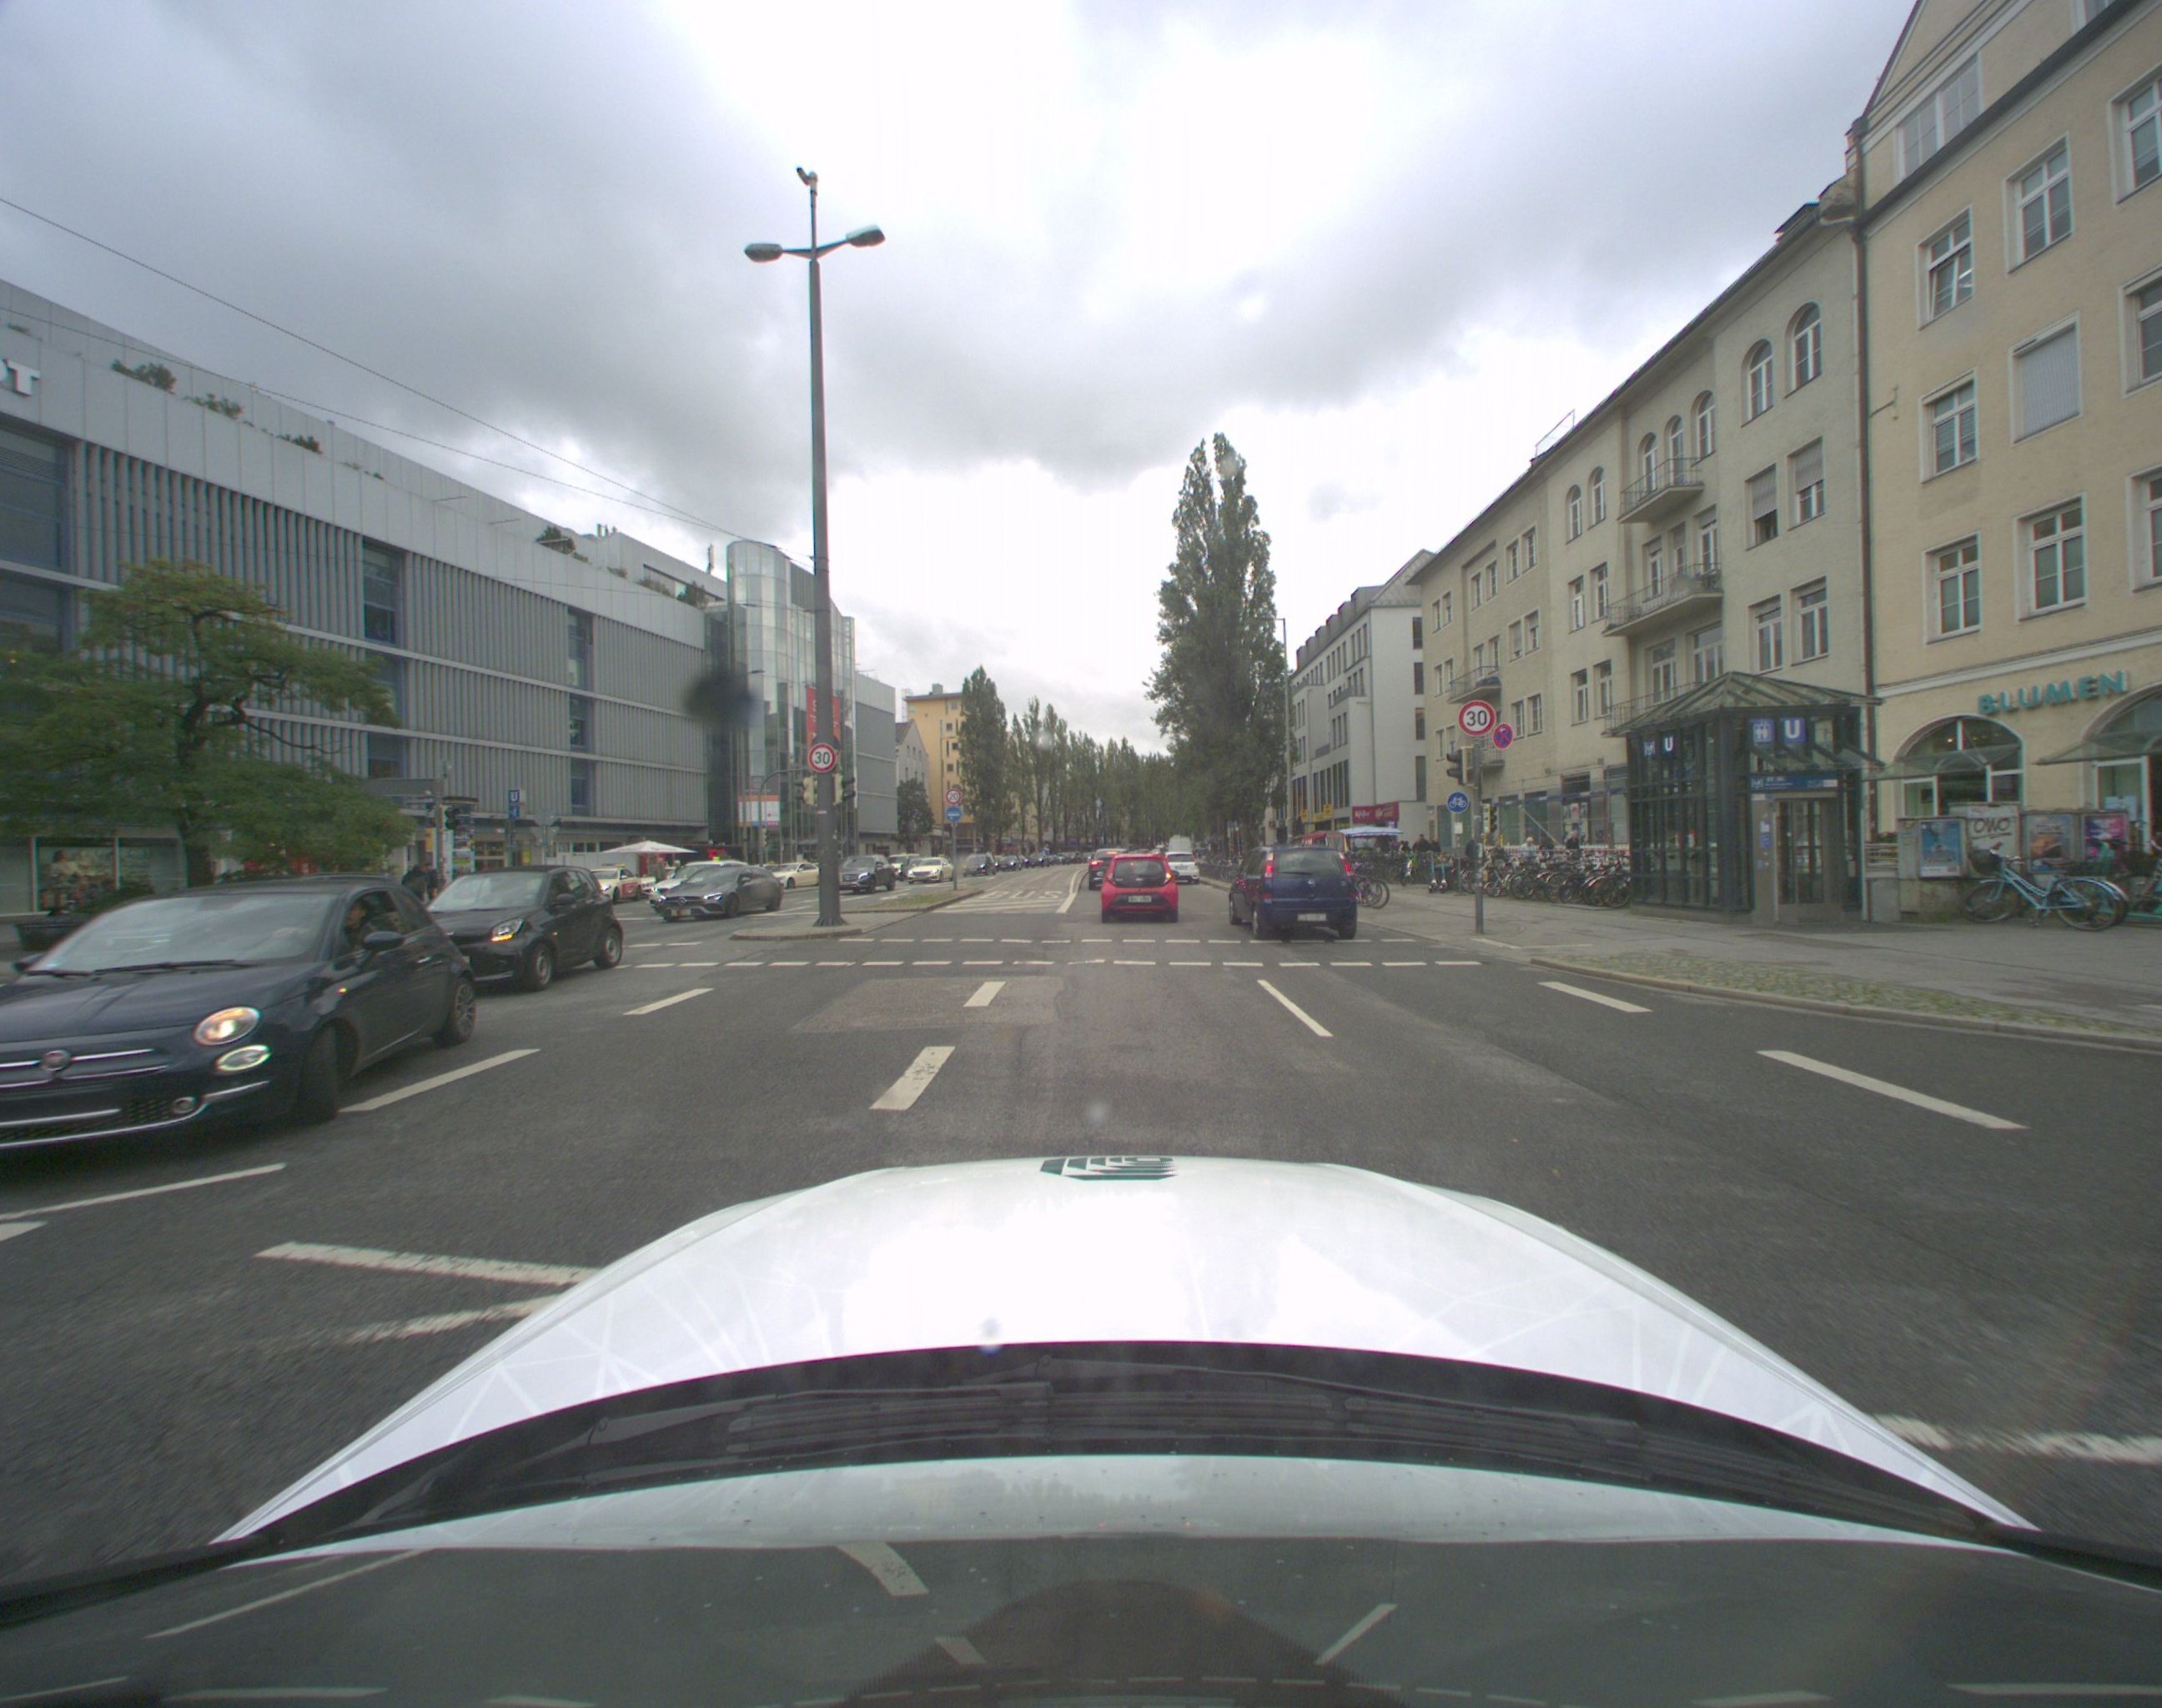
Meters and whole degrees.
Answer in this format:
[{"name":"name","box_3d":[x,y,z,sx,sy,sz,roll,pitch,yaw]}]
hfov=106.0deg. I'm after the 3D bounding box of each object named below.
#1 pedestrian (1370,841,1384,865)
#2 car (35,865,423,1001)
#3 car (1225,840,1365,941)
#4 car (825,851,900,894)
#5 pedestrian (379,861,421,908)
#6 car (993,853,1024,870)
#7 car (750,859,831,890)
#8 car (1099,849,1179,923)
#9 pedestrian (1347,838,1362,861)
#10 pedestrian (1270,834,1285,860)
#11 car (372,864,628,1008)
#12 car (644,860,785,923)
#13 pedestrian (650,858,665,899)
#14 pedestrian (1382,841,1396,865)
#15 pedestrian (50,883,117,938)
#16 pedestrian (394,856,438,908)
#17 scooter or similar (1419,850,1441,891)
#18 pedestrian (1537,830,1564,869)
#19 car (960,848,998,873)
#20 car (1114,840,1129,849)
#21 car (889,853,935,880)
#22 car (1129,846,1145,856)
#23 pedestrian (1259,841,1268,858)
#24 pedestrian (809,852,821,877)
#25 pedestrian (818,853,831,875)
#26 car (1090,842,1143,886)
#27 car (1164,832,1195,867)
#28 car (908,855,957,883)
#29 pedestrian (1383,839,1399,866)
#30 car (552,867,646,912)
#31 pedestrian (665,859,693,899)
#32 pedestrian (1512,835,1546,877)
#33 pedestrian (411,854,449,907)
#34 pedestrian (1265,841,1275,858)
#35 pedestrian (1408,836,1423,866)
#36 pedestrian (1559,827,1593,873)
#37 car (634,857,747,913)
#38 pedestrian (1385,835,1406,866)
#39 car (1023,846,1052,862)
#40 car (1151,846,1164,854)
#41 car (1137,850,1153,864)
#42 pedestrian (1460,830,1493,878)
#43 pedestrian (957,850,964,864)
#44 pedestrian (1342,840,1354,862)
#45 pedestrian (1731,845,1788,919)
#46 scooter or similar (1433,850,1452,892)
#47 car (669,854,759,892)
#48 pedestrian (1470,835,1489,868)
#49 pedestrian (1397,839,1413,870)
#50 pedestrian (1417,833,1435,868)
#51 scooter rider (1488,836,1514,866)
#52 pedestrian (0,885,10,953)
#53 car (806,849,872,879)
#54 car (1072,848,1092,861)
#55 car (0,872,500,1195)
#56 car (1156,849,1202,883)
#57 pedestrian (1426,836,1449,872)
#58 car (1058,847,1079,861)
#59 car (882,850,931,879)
[{"name":"pedestrian","box_3d":[17.716,-0.041,48.764,0.596,1.402,0.580,-2,0,1]},{"name":"car","box_3d":[-13.011,1.089,12.887,1.776,1.662,4.002,-2,0,2]},{"name":"car","box_3d":[3.757,0.575,14.874,1.696,1.589,3.558,-2,0,2]},{"name":"car","box_3d":[-9.408,0.747,35.500,1.736,1.670,4.735,-2,1,2]},{"name":"pedestrian","box_3d":[-23.148,1.027,27.698,0.764,1.554,0.755,-2,0,17]},{"name":"car","box_3d":[-6.430,0.635,72.457,1.836,1.382,4.608,-2,0,6]},{"name":"car","box_3d":[-15.643,1.072,44.179,1.981,1.508,4.649,-2,0,11]},{"name":"car","box_3d":[1.249,0.641,18.129,1.598,1.461,3.132,-1,0,3]},{"name":"pedestrian","box_3d":[18.738,-0.307,55.751,0.730,1.602,0.742,-2,0,1]},{"name":"pedestrian","box_3d":[13.622,-0.486,56.475,0.787,1.727,0.764,-2,0,1]},{"name":"car","box_3d":[-7.417,0.946,10.733,1.502,1.534,2.830,-3,0,-7]},{"name":"car","box_3d":[-10.059,0.963,22.740,1.987,1.411,4.167,-3,1,0]},{"name":"pedestrian","box_3d":[-18.366,1.042,35.331,0.441,1.759,0.358,-2,0,37]},{"name":"pedestrian","box_3d":[18.437,-0.041,48.724,0.572,1.402,0.580,-2,0,1]},{"name":"pedestrian","box_3d":[-29.991,1.680,24.494,0.791,1.581,0.980,-2,0,13]},{"name":"pedestrian","box_3d":[-21.858,0.904,26.764,0.765,1.654,0.754,-2,0,12]},{"name":"scooter or similar","box_3d":[10.444,0.482,24.346,0.360,1.176,1.356,-2,0,32]},{"name":"pedestrian","box_3d":[19.131,-0.192,33.201,0.646,1.568,0.788,-2,0,2]},{"name":"car","box_3d":[-7.480,0.443,60.004,1.928,1.738,4.591,-2,0,3]},{"name":"car","box_3d":[7.865,-1.777,156.196,1.979,1.691,4.431,-2,0,14]},{"name":"car","box_3d":[-11.129,0.781,53.901,1.831,1.613,4.262,-2,1,3]},{"name":"car","box_3d":[10.086,-0.620,146.814,1.979,1.691,4.431,-2,0,14]},{"name":"pedestrian","box_3d":[17.521,-0.448,78.229,0.761,1.594,0.676,-2,0,1]},{"name":"pedestrian","box_3d":[-19.202,0.761,58.786,0.553,1.817,0.630,-2,0,13]},{"name":"pedestrian","box_3d":[-19.808,0.794,62.865,0.646,1.691,0.714,-2,0,14]},{"name":"car","box_3d":[1.395,0.371,32.809,1.986,1.618,4.001,-2,0,1]},{"name":"car","box_3d":[8.050,-0.377,66.890,2.098,2.718,4.807,-2,0,3]},{"name":"car","box_3d":[-8.522,0.836,47.093,1.758,1.421,4.642,-2,0,2]},{"name":"pedestrian","box_3d":[16.420,-0.076,43.195,0.612,1.425,0.660,-2,0,7]},{"name":"car","box_3d":[-19.574,1.399,33.287,1.996,1.536,4.395,-2,1,-13]},{"name":"pedestrian","box_3d":[-17.418,1.063,35.294,0.766,1.690,0.753,-2,0,6]},{"name":"pedestrian","box_3d":[16.777,0.055,30.517,0.775,1.517,0.758,-3,0,0]},{"name":"pedestrian","box_3d":[-22.205,0.894,27.786,0.752,1.773,0.767,-2,0,-22]},{"name":"pedestrian","box_3d":[17.325,-0.411,74.549,0.710,1.558,0.676,-2,0,1]},{"name":"pedestrian","box_3d":[16.635,-0.143,40.500,0.501,1.484,0.468,-2,0,37]},{"name":"pedestrian","box_3d":[18.173,-0.145,29.914,0.748,1.650,0.758,-3,0,0]},{"name":"car","box_3d":[-12.613,0.940,26.588,1.693,1.596,4.000,-2,0,1]},{"name":"pedestrian","box_3d":[15.941,-0.180,41.253,0.801,1.522,0.805,-2,0,35]},{"name":"car","box_3d":[-4.439,0.013,84.581,1.981,1.534,4.600,-2,0,10]},{"name":"car","box_3d":[15.884,-0.839,168.826,1.979,1.691,4.431,-2,0,14]},{"name":"car","box_3d":[8.815,0.383,111.902,1.982,1.838,4.009,-2,0,8]},{"name":"pedestrian","box_3d":[14.709,-0.002,30.318,0.810,1.727,0.759,-3,0,2]},{"name":"pedestrian","box_3d":[-16.030,0.375,108.447,0.682,1.810,0.768,-2,0,13]},{"name":"pedestrian","box_3d":[17.583,-0.206,53.581,0.596,1.402,0.580,-2,0,1]},{"name":"pedestrian","box_3d":[15.822,0.636,19.002,0.654,1.670,0.722,-3,0,3]},{"name":"scooter or similar","box_3d":[10.638,0.484,23.970,0.297,1.176,1.285,-2,0,32]},{"name":"car","box_3d":[-16.645,0.812,37.194,1.893,1.543,4.395,-2,1,2]},{"name":"pedestrian","box_3d":[20.447,-0.135,41.777,0.638,1.644,0.563,-2,0,1]},{"name":"pedestrian","box_3d":[15.937,0.015,40.054,0.573,1.505,0.620,-2,0,33]},{"name":"pedestrian","box_3d":[16.742,-0.181,39.519,0.594,1.669,0.690,-2,0,37]},{"name":"scooter rider","box_3d":[18.082,-0.130,35.084,0.683,1.219,0.719,-3,0,0]},{"name":"pedestrian","box_3d":[-25.587,1.530,18.848,0.634,1.574,0.722,-2,0,6]},{"name":"car","box_3d":[-14.675,0.570,49.615,1.979,1.679,4.200,-1,1,14]},{"name":"car","box_3d":[0.121,0.098,113.698,1.982,1.692,4.933,-2,-1,9]},{"name":"car","box_3d":[-5.555,0.916,5.686,1.551,1.445,3.514,-2,1,-21]},{"name":"car","box_3d":[4.400,0.494,36.891,1.693,1.426,3.498,-2,0,1]},{"name":"pedestrian","box_3d":[17.881,0.002,40.882,0.739,1.727,0.759,-3,0,1]},{"name":"car","box_3d":[-1.603,0.037,103.787,1.983,1.691,4.931,-2,0,7]},{"name":"car","box_3d":[-13.449,0.751,63.070,1.983,2.013,5.533,-2,1,6]}]
